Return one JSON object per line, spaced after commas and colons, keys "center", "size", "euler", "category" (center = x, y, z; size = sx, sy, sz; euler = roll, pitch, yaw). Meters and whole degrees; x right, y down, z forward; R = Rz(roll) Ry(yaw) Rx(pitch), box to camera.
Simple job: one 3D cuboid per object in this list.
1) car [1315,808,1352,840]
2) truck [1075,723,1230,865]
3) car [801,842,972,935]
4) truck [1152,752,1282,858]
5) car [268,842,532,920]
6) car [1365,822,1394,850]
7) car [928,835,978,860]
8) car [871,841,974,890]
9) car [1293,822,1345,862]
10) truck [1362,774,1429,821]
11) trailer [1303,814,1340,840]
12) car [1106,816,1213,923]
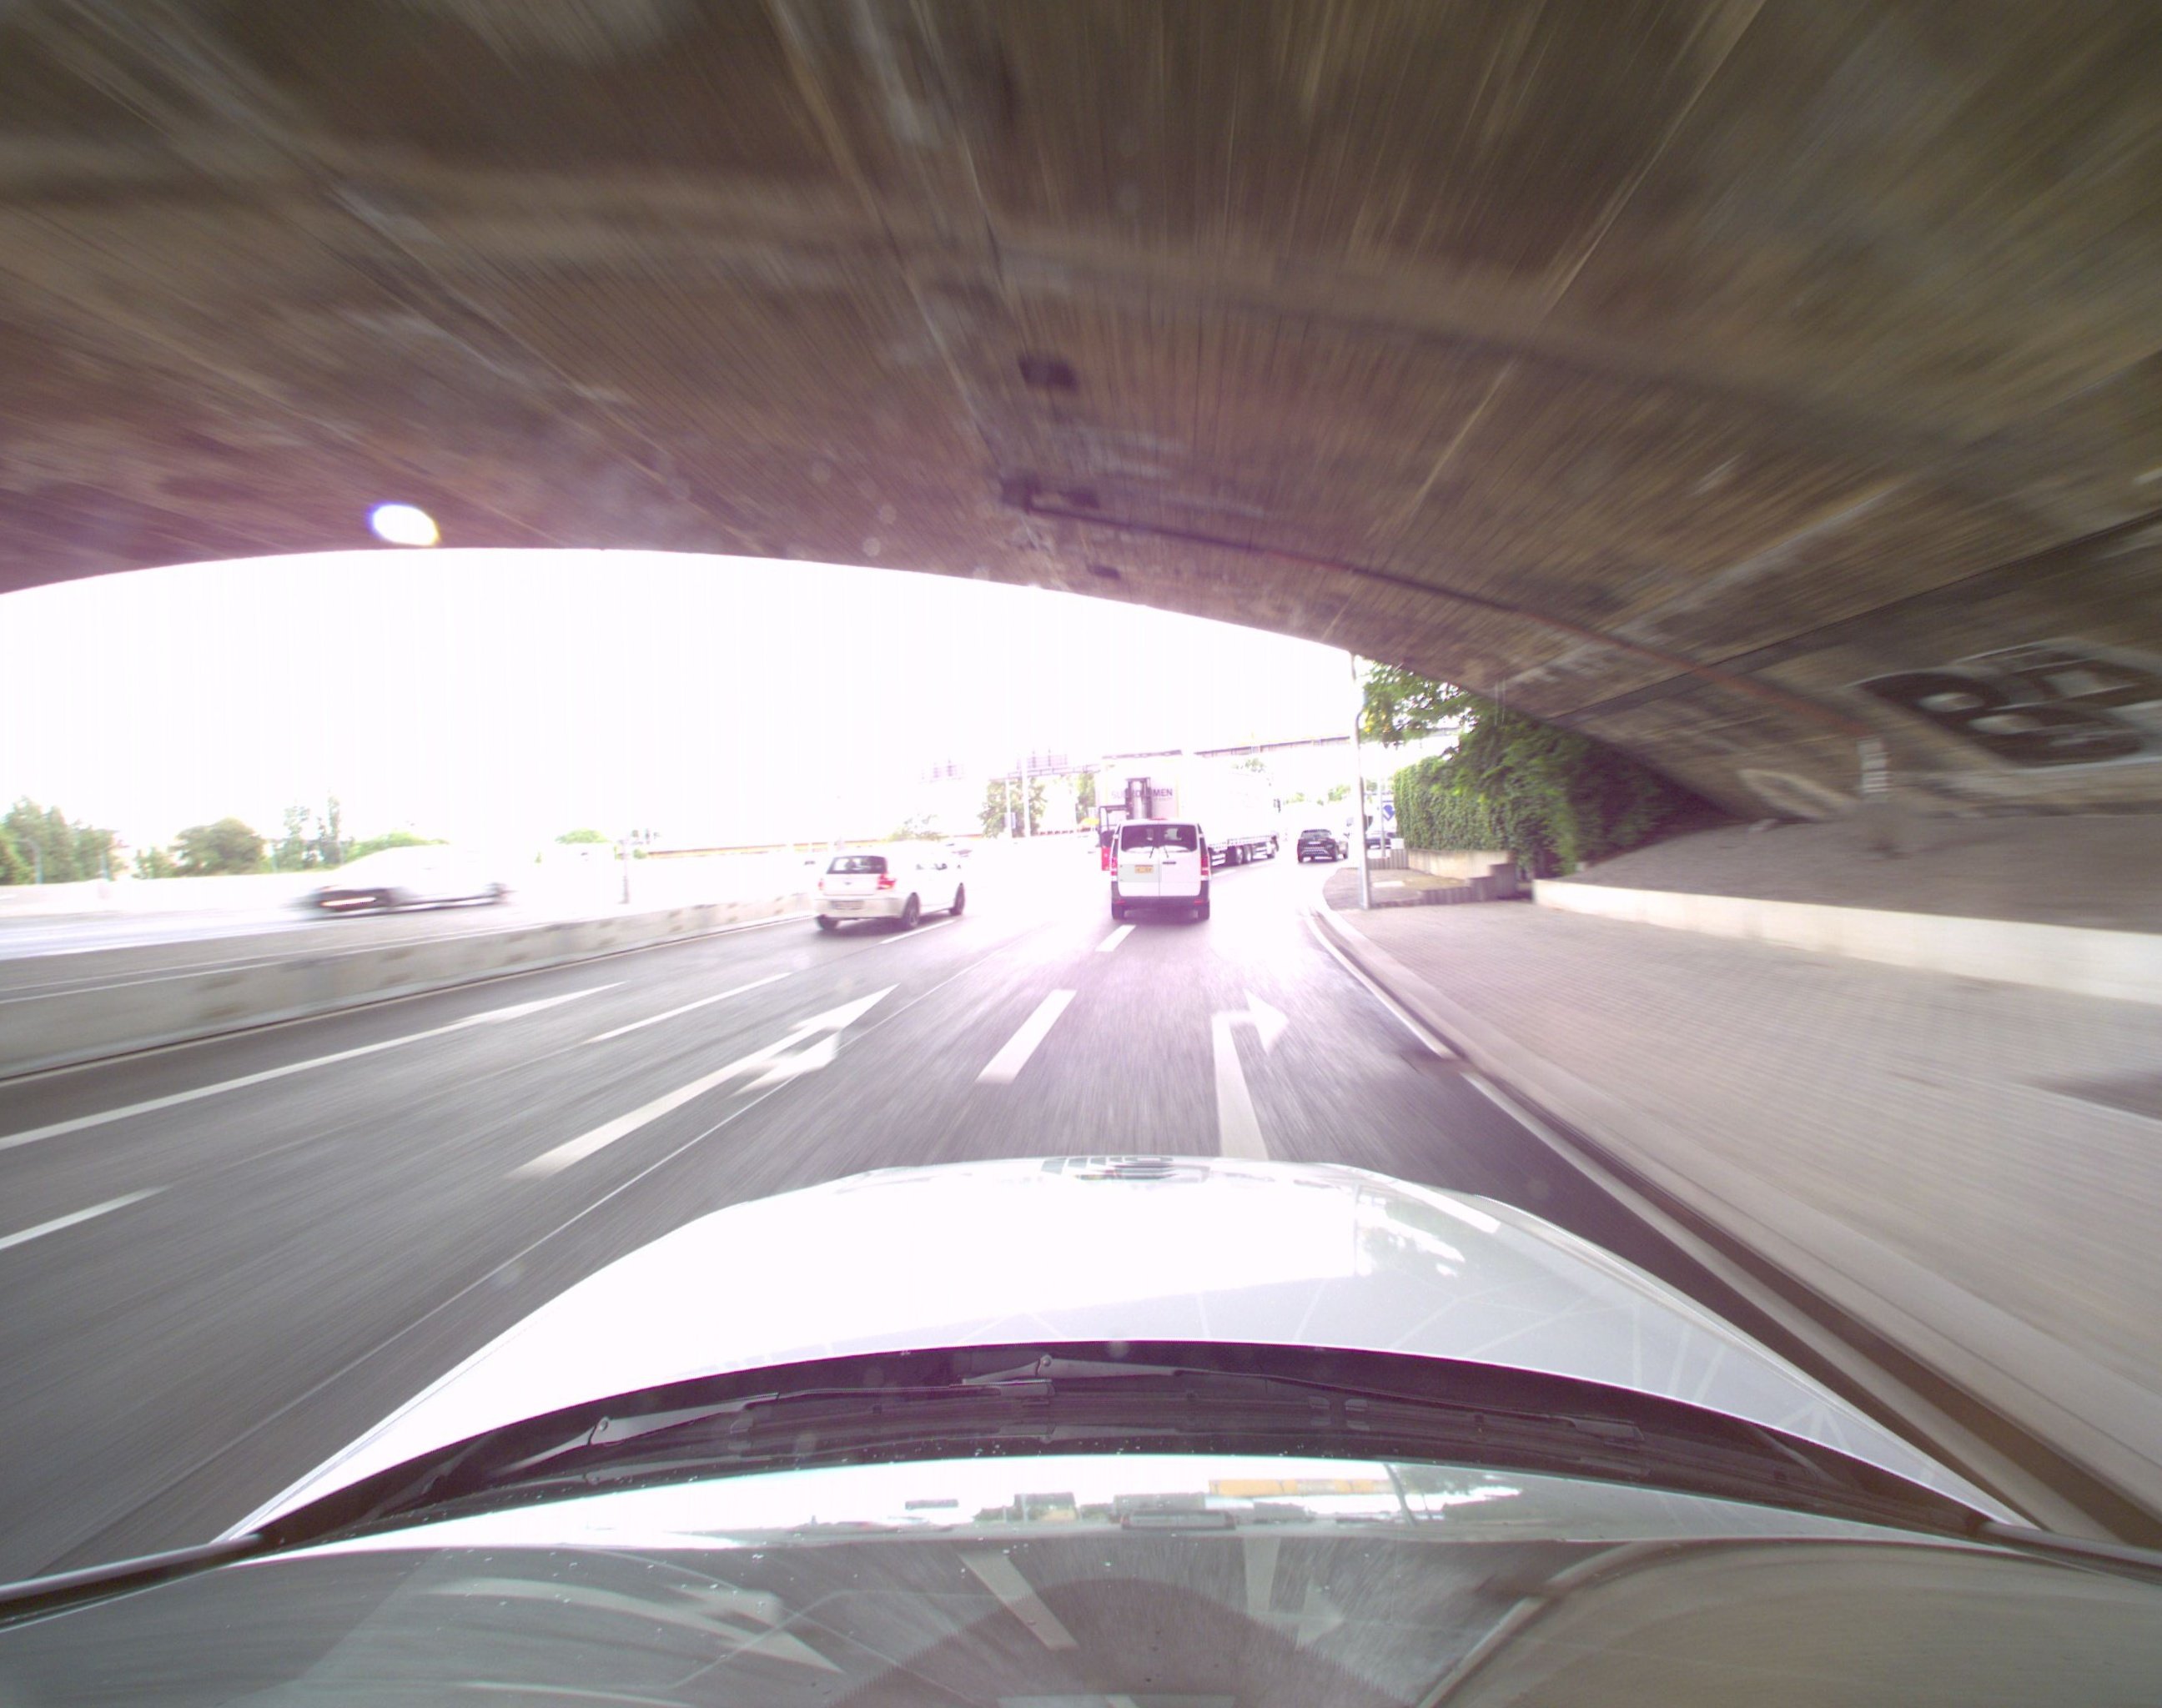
{"center": [21.474, -2.577, 69.124], "size": [1.975, 2.541, 5.207], "euler": [0, 2, 29], "category": "car"}
{"center": [2.912, -1.846, 28.535], "size": [2.894, 4.016, 10.251], "euler": [-1, 1, 19], "category": "truck"}
{"center": [-3.469, 0.533, 15.346], "size": [1.628, 1.432, 3.994], "euler": [0, 2, 10], "category": "car"}
{"center": [6.716, -2.102, 37.991], "size": [2.960, 4.175, 11.307], "euler": [-1, 1, 25], "category": "truck"}
{"center": [-15.708, 0.538, 19.190], "size": [1.844, 1.486, 4.558], "euler": [-2, 1, 11], "category": "car"}
{"center": [17.507, -1.032, 47.672], "size": [1.488, 1.469, 3.416], "euler": [2, -1, 22], "category": "car"}
{"center": [-8.975, -0.479, 57.456], "size": [1.721, 1.580, 4.169], "euler": [-2, 1, 19], "category": "car"}
{"center": [-5.082, 0.323, 26.649], "size": [1.564, 1.484, 4.015], "euler": [-1, 1, 17], "category": "car"}
{"center": [10.761, -0.583, 36.731], "size": [1.734, 1.625, 3.867], "euler": [-2, 2, 23], "category": "car"}
{"center": [29.939, -5.123, 76.836], "size": [3.285, 3.809, 16.699], "euler": [-1, 2, 30], "category": "truck"}
{"center": [19.223, -2.153, 65.069], "size": [1.975, 1.957, 4.104], "euler": [0, 2, 29], "category": "trailer"}
{"center": [1.760, 0.196, 16.810], "size": [1.865, 1.890, 4.766], "euler": [-1, 2, 9], "category": "car"}
